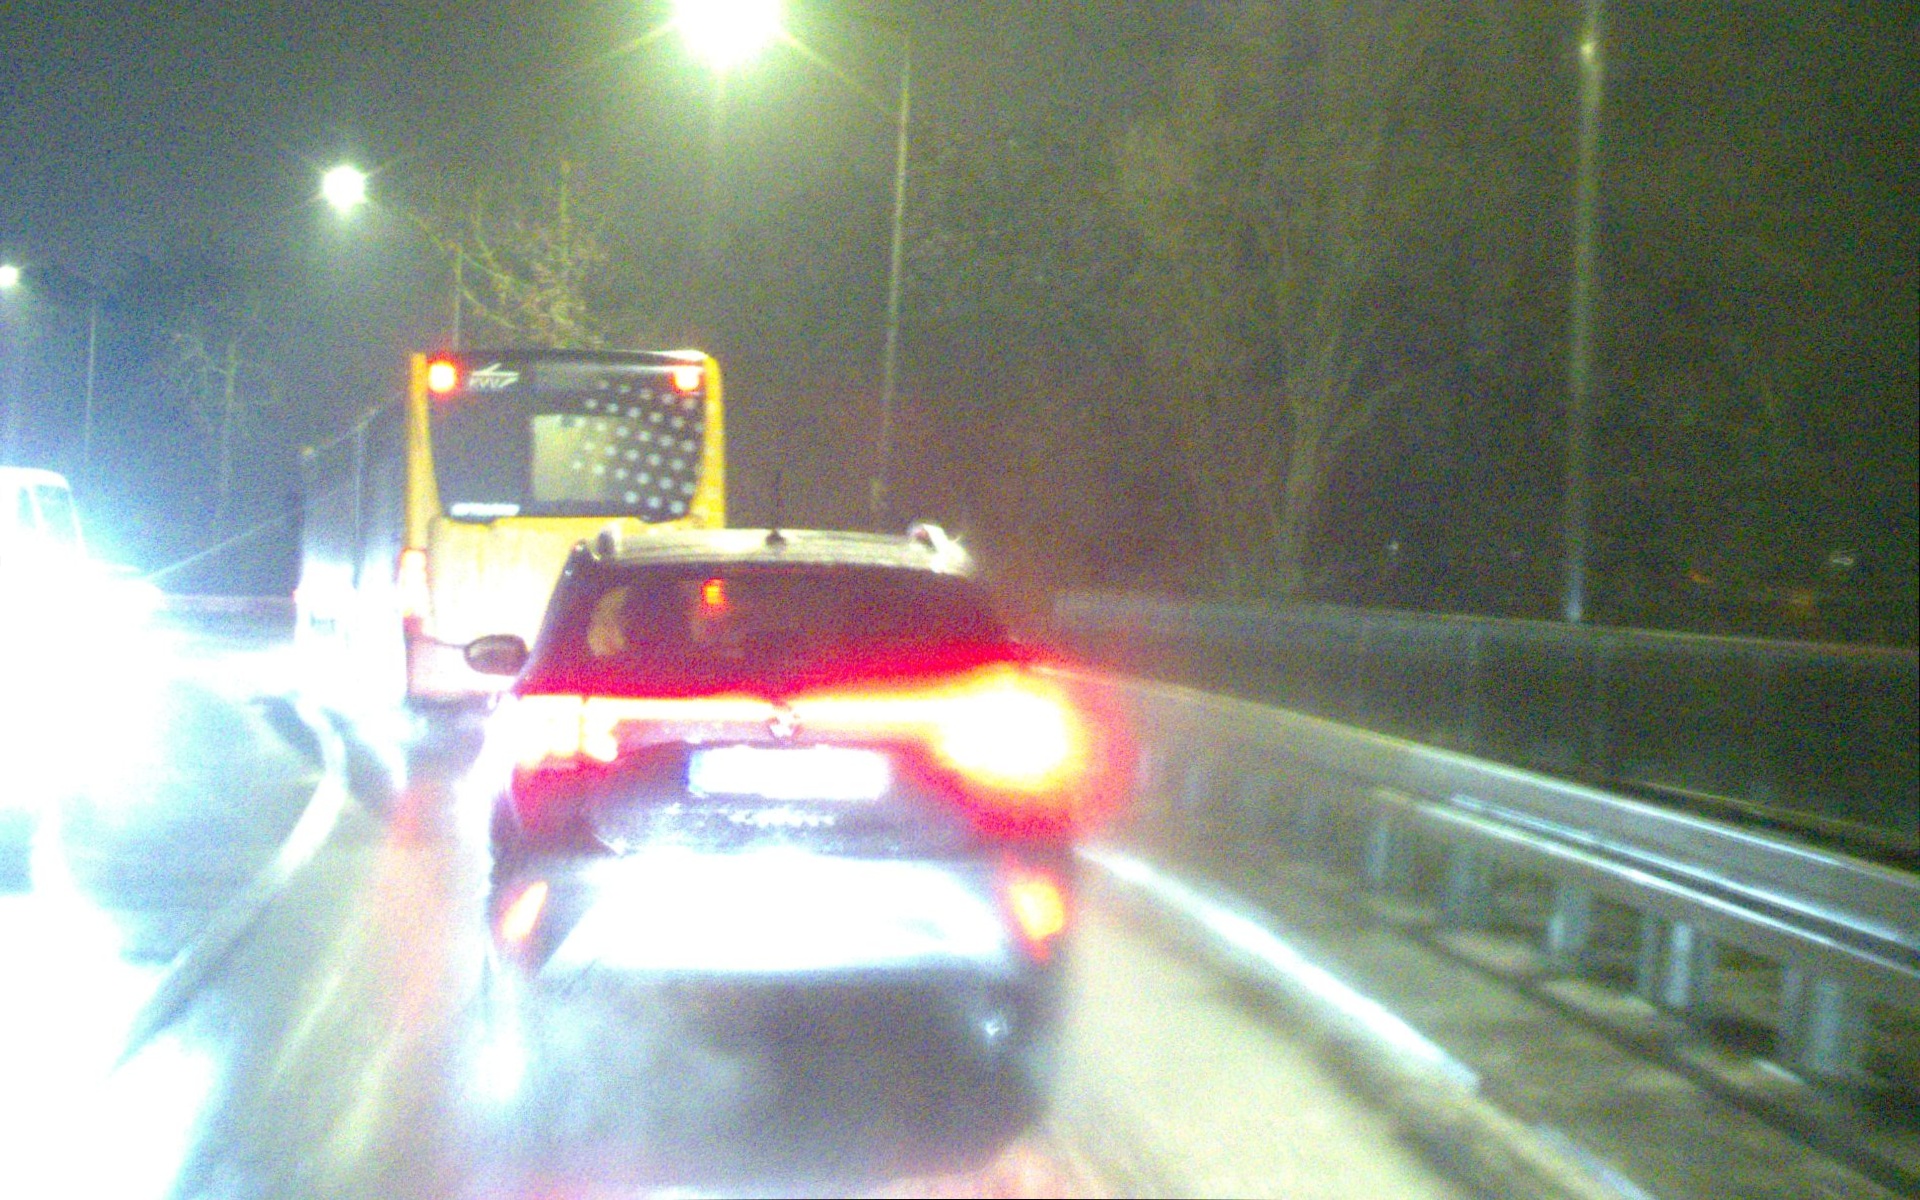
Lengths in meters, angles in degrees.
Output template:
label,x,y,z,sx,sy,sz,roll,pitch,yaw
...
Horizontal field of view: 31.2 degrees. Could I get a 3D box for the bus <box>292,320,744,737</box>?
label,x,y,z,sx,sy,sz,roll,pitch,yaw
bus,-4.528,-0.657,32.247,3.082,3.122,12.701,-1,1,-12

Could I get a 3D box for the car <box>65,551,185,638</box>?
label,x,y,z,sx,sy,sz,roll,pitch,yaw
car,-16.614,-0.094,68.298,1.636,1.650,3.710,0,-1,-25

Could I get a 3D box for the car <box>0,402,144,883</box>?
label,x,y,z,sx,sy,sz,roll,pitch,yaw
car,-5.596,0.172,17.885,2.043,2.162,5.155,0,1,-7

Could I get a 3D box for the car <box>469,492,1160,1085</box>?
label,x,y,z,sx,sy,sz,roll,pitch,yaw
car,-0.589,0.485,11.254,1.855,1.581,4.001,0,1,-6
